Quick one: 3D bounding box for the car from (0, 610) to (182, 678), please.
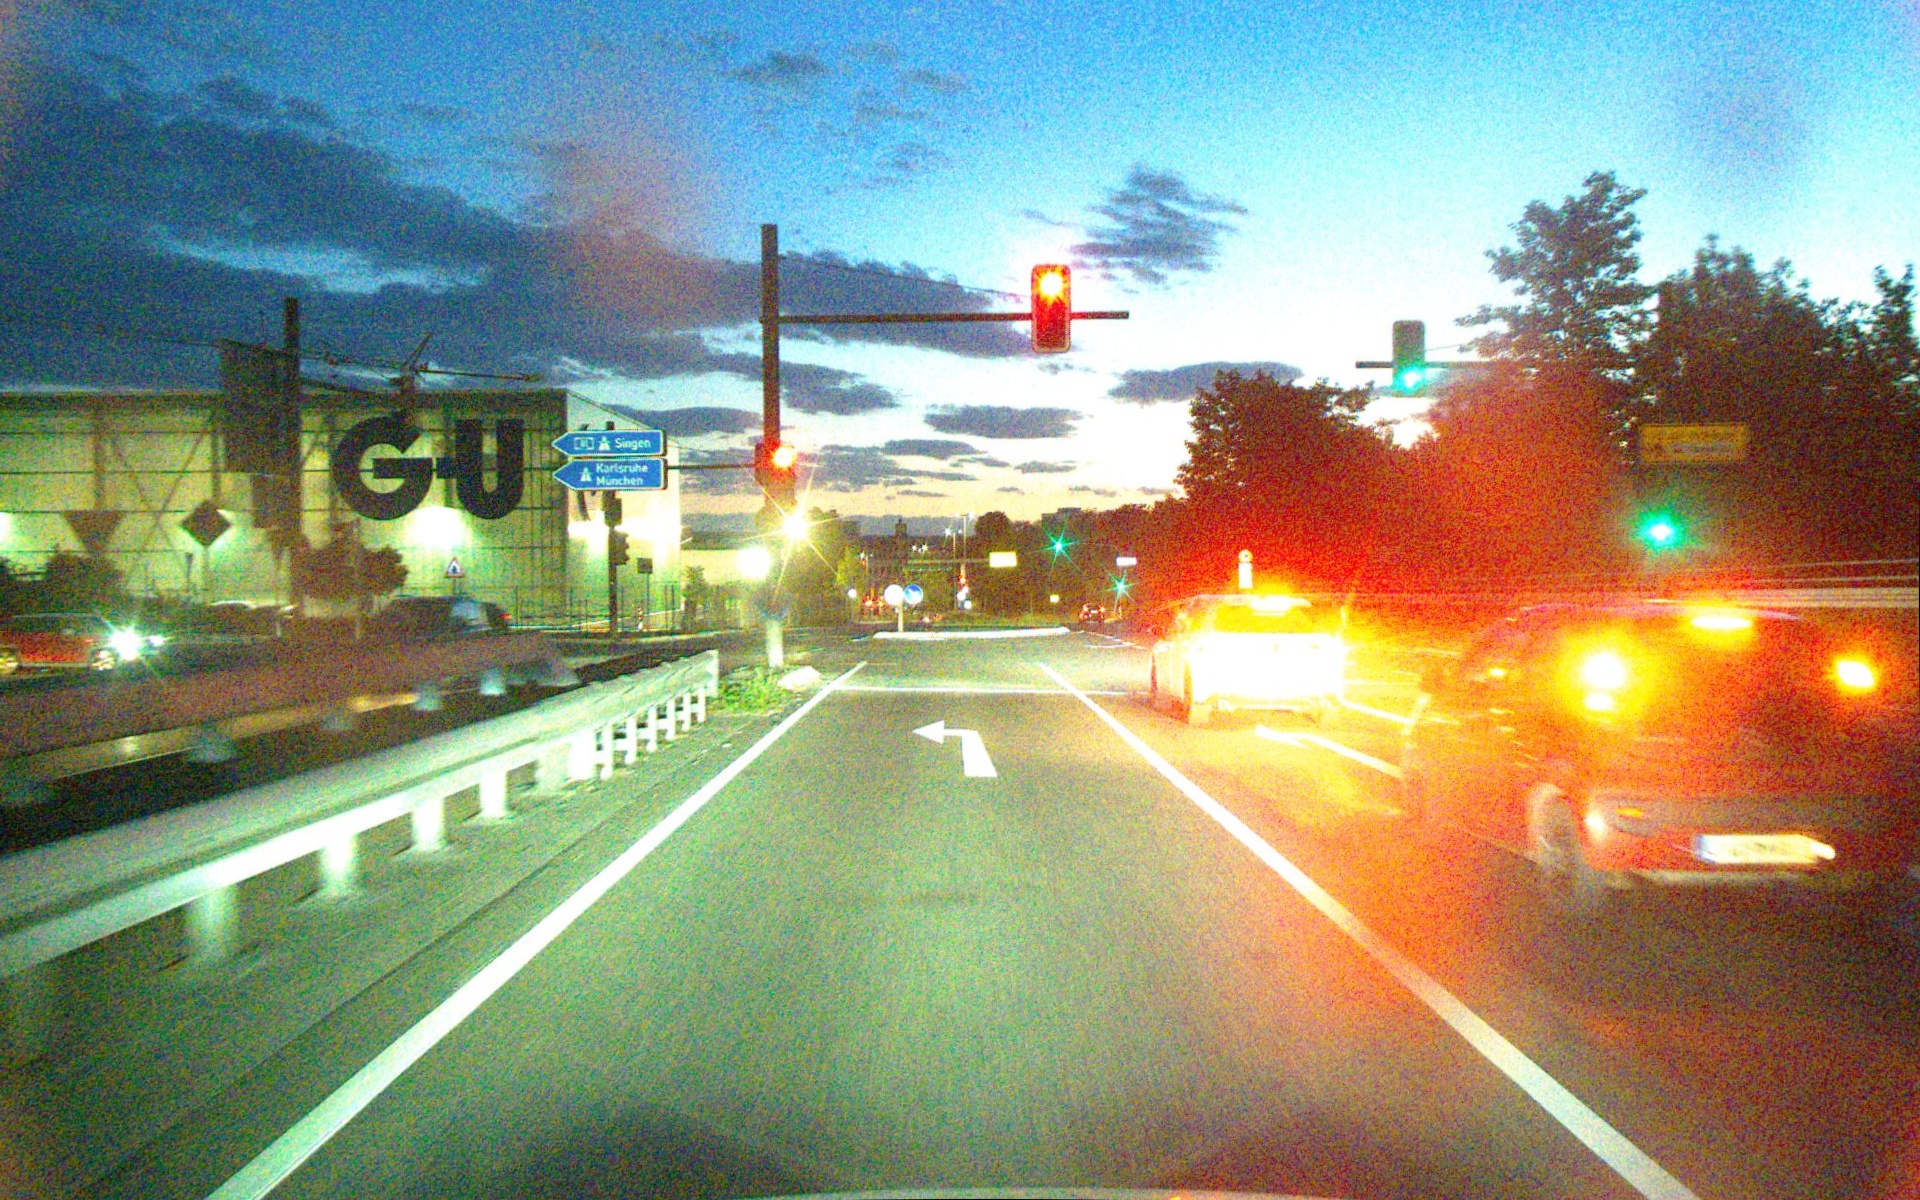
[{"bbox_3d":[-21.116,1.055,40.026,3.776,1.500,1.706,-2,-1,5],"label":"car"}]

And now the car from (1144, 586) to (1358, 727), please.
[{"bbox_3d":[3.354,0.591,19.819,1.722,1.485,4.191,0,1,-2],"label":"car"}]

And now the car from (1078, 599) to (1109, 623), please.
[{"bbox_3d":[10.017,0.800,124.502,1.896,1.675,3.999,-1,1,-1],"label":"car"}]

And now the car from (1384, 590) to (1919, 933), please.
[{"bbox_3d":[3.583,0.697,8.968,1.619,1.476,3.489,0,1,-1],"label":"car"}]

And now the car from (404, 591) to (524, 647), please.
[{"bbox_3d":[-18.560,0.709,61.895,3.945,2.049,1.980,1,0,-31],"label":"car"}]

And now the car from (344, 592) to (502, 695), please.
[{"bbox_3d":[-9.021,0.685,28.056,1.514,1.546,3.515,-3,1,-1],"label":"car"}]
